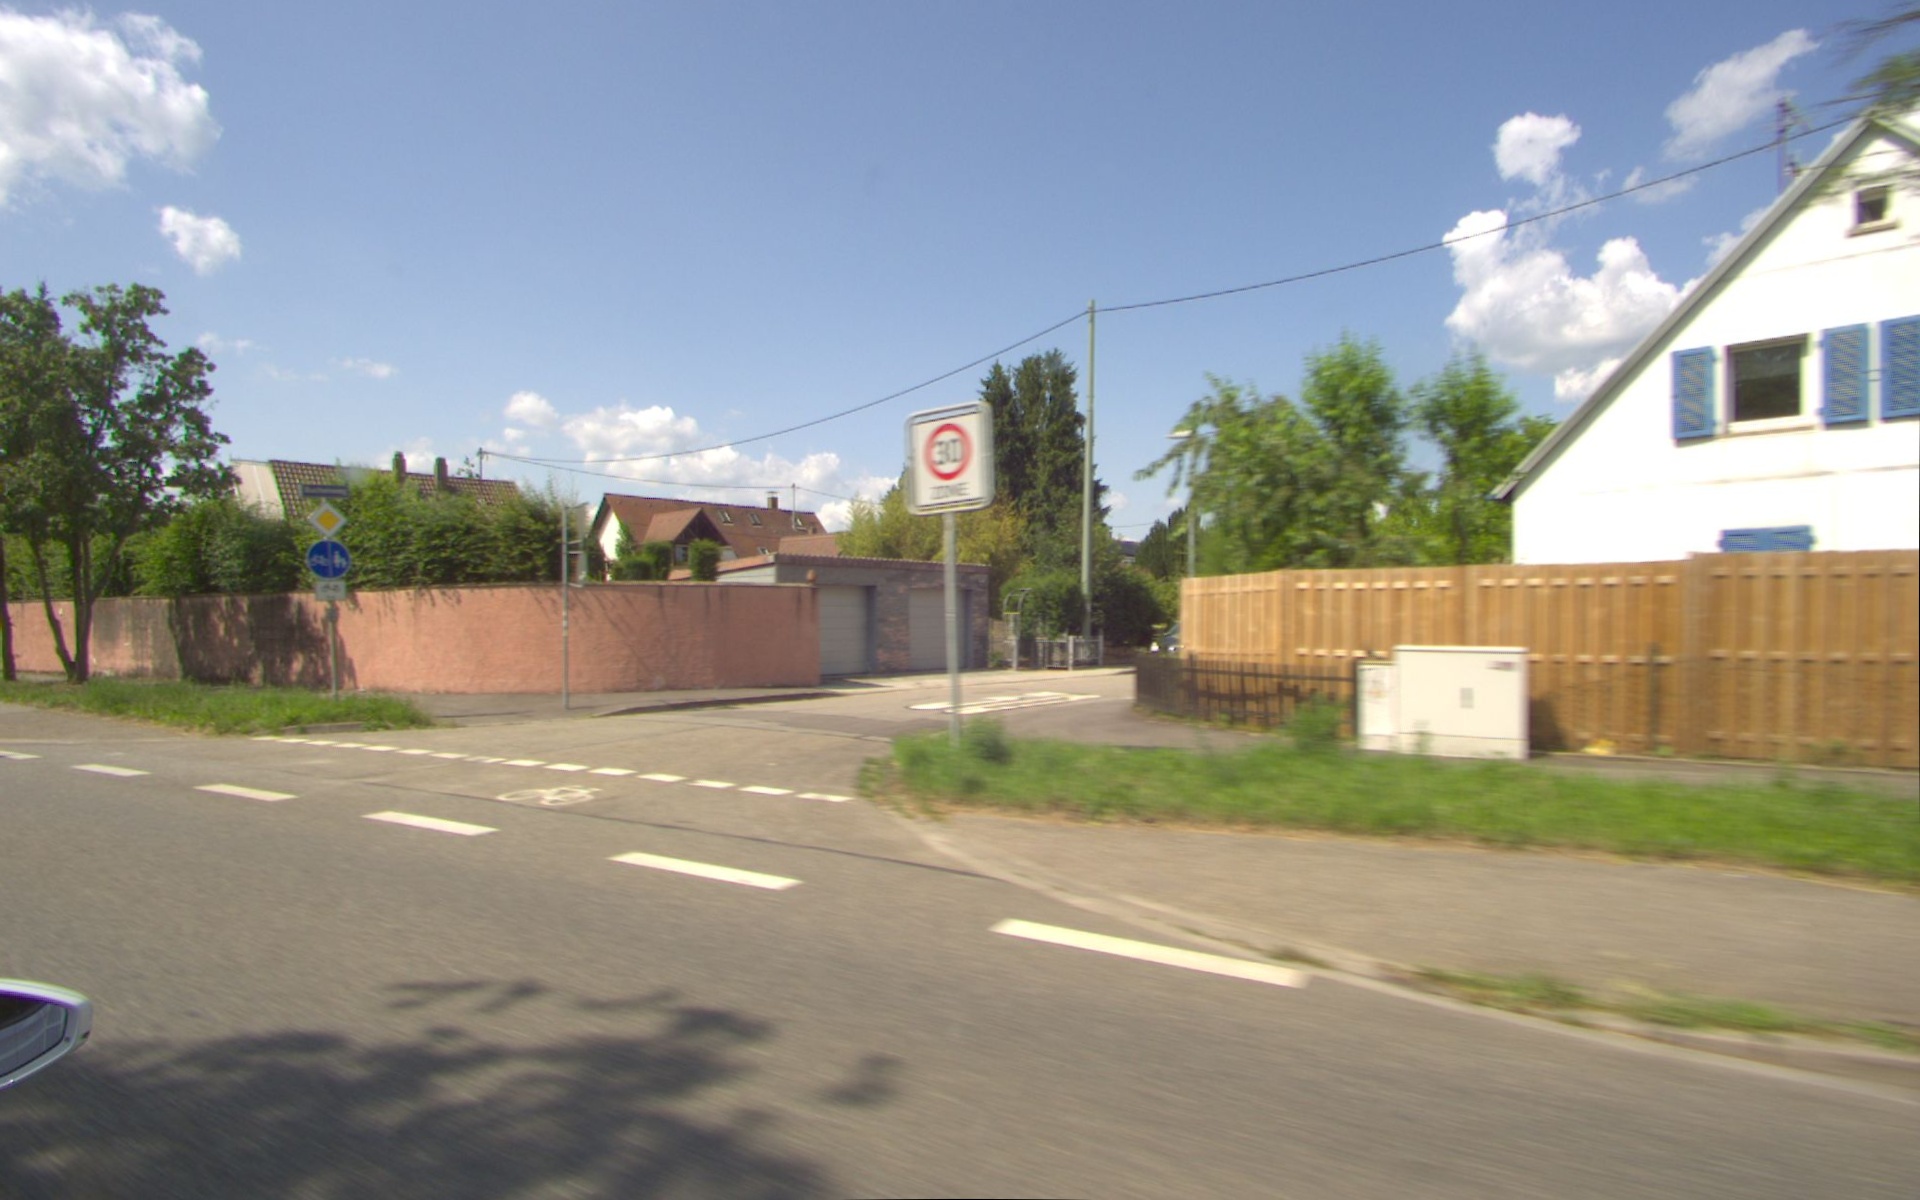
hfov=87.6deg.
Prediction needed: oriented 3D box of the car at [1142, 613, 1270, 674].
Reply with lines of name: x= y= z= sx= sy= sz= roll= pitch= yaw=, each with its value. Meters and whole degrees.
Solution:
car: x=7.057 y=1.184 z=28.464 sx=1.704 sy=1.588 sz=4.242 roll=-1 pitch=-1 yaw=43
